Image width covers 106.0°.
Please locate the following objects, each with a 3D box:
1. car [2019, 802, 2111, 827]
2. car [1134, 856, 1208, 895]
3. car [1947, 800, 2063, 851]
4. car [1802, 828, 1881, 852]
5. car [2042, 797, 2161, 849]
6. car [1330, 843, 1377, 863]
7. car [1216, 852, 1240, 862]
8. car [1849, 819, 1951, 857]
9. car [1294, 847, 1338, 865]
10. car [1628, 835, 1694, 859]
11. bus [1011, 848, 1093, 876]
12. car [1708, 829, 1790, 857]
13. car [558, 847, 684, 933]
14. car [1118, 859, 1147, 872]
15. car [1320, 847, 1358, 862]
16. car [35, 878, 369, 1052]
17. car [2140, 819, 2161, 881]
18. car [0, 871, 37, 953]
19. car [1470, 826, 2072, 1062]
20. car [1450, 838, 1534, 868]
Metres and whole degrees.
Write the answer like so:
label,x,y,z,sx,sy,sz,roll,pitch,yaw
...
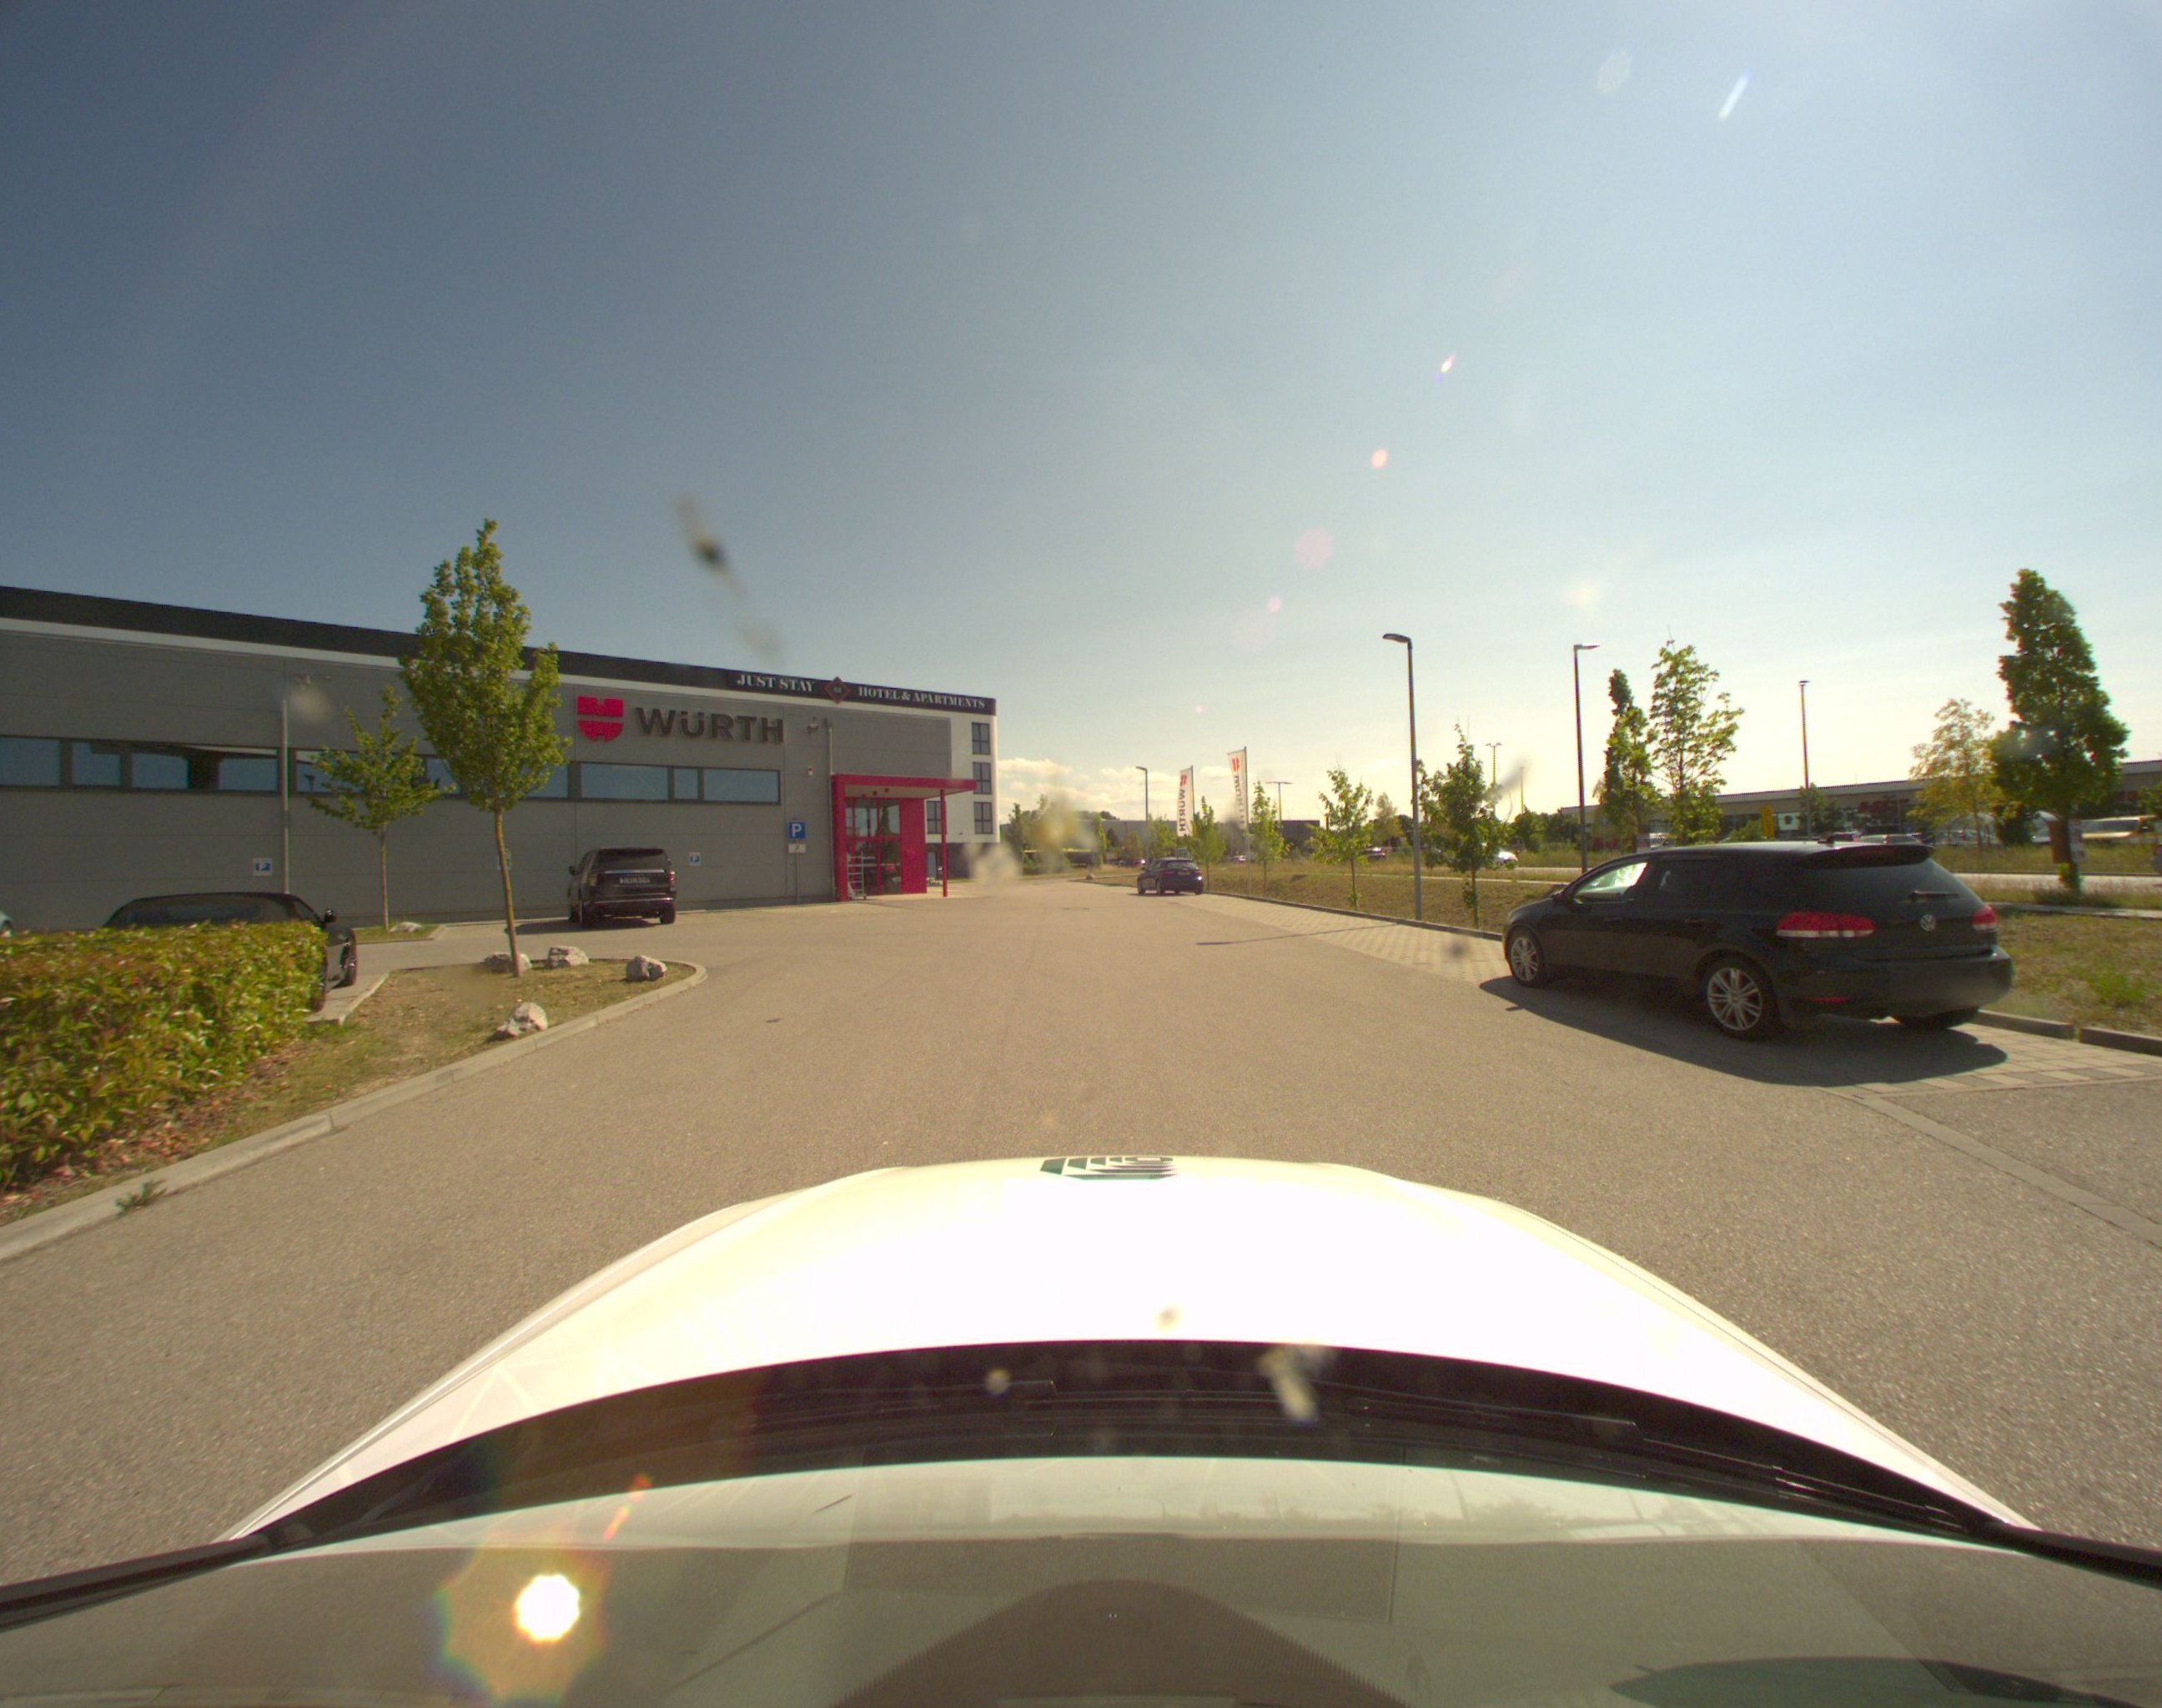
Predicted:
label,x,y,z,sx,sy,sz,roll,pitch,yaw
car,62.809,-2.486,52.036,1.432,1.400,3.462,-1,0,-19
car,3.437,0.807,31.738,1.700,1.406,3.880,-1,0,-12
car,47.310,-1.448,41.707,5.072,2.455,1.988,-1,0,-17
car,54.508,-1.009,58.442,1.906,1.618,3.659,-1,0,-19
car,48.429,-1.430,37.538,6.299,2.237,2.804,-1,0,-14
car,23.350,-0.071,69.711,3.674,1.598,1.700,-2,0,-26
car,25.544,0.513,141.463,3.974,1.658,1.886,-2,0,-34
car,47.140,-0.919,46.890,5.072,2.013,1.988,-2,0,-17
car,21.816,0.159,75.559,3.674,1.598,1.700,-2,0,-26
car,41.894,-0.519,58.858,3.654,1.618,1.836,-1,0,-8
bus,-3.885,1.072,112.175,11.284,3.557,2.551,-2,0,-30
car,44.517,-0.746,54.293,4.415,1.726,1.991,-1,0,-14
car,-11.773,0.831,20.658,2.088,1.880,4.823,-2,0,-38
car,6.018,1.329,95.501,1.658,1.385,3.476,-2,0,-32
car,26.481,0.031,83.513,3.727,1.395,1.574,-2,0,-31
car,-9.585,1.026,9.311,1.877,1.362,4.327,-2,0,-38
car,26.921,-0.112,17.624,1.870,1.483,4.594,-1,0,-6
car,-21.639,1.158,14.973,1.963,1.586,4.327,-2,0,-38
car,5.673,0.602,7.547,1.833,1.477,4.112,-3,0,-5
car,22.270,-0.056,44.280,1.877,1.483,3.977,-1,0,-17
